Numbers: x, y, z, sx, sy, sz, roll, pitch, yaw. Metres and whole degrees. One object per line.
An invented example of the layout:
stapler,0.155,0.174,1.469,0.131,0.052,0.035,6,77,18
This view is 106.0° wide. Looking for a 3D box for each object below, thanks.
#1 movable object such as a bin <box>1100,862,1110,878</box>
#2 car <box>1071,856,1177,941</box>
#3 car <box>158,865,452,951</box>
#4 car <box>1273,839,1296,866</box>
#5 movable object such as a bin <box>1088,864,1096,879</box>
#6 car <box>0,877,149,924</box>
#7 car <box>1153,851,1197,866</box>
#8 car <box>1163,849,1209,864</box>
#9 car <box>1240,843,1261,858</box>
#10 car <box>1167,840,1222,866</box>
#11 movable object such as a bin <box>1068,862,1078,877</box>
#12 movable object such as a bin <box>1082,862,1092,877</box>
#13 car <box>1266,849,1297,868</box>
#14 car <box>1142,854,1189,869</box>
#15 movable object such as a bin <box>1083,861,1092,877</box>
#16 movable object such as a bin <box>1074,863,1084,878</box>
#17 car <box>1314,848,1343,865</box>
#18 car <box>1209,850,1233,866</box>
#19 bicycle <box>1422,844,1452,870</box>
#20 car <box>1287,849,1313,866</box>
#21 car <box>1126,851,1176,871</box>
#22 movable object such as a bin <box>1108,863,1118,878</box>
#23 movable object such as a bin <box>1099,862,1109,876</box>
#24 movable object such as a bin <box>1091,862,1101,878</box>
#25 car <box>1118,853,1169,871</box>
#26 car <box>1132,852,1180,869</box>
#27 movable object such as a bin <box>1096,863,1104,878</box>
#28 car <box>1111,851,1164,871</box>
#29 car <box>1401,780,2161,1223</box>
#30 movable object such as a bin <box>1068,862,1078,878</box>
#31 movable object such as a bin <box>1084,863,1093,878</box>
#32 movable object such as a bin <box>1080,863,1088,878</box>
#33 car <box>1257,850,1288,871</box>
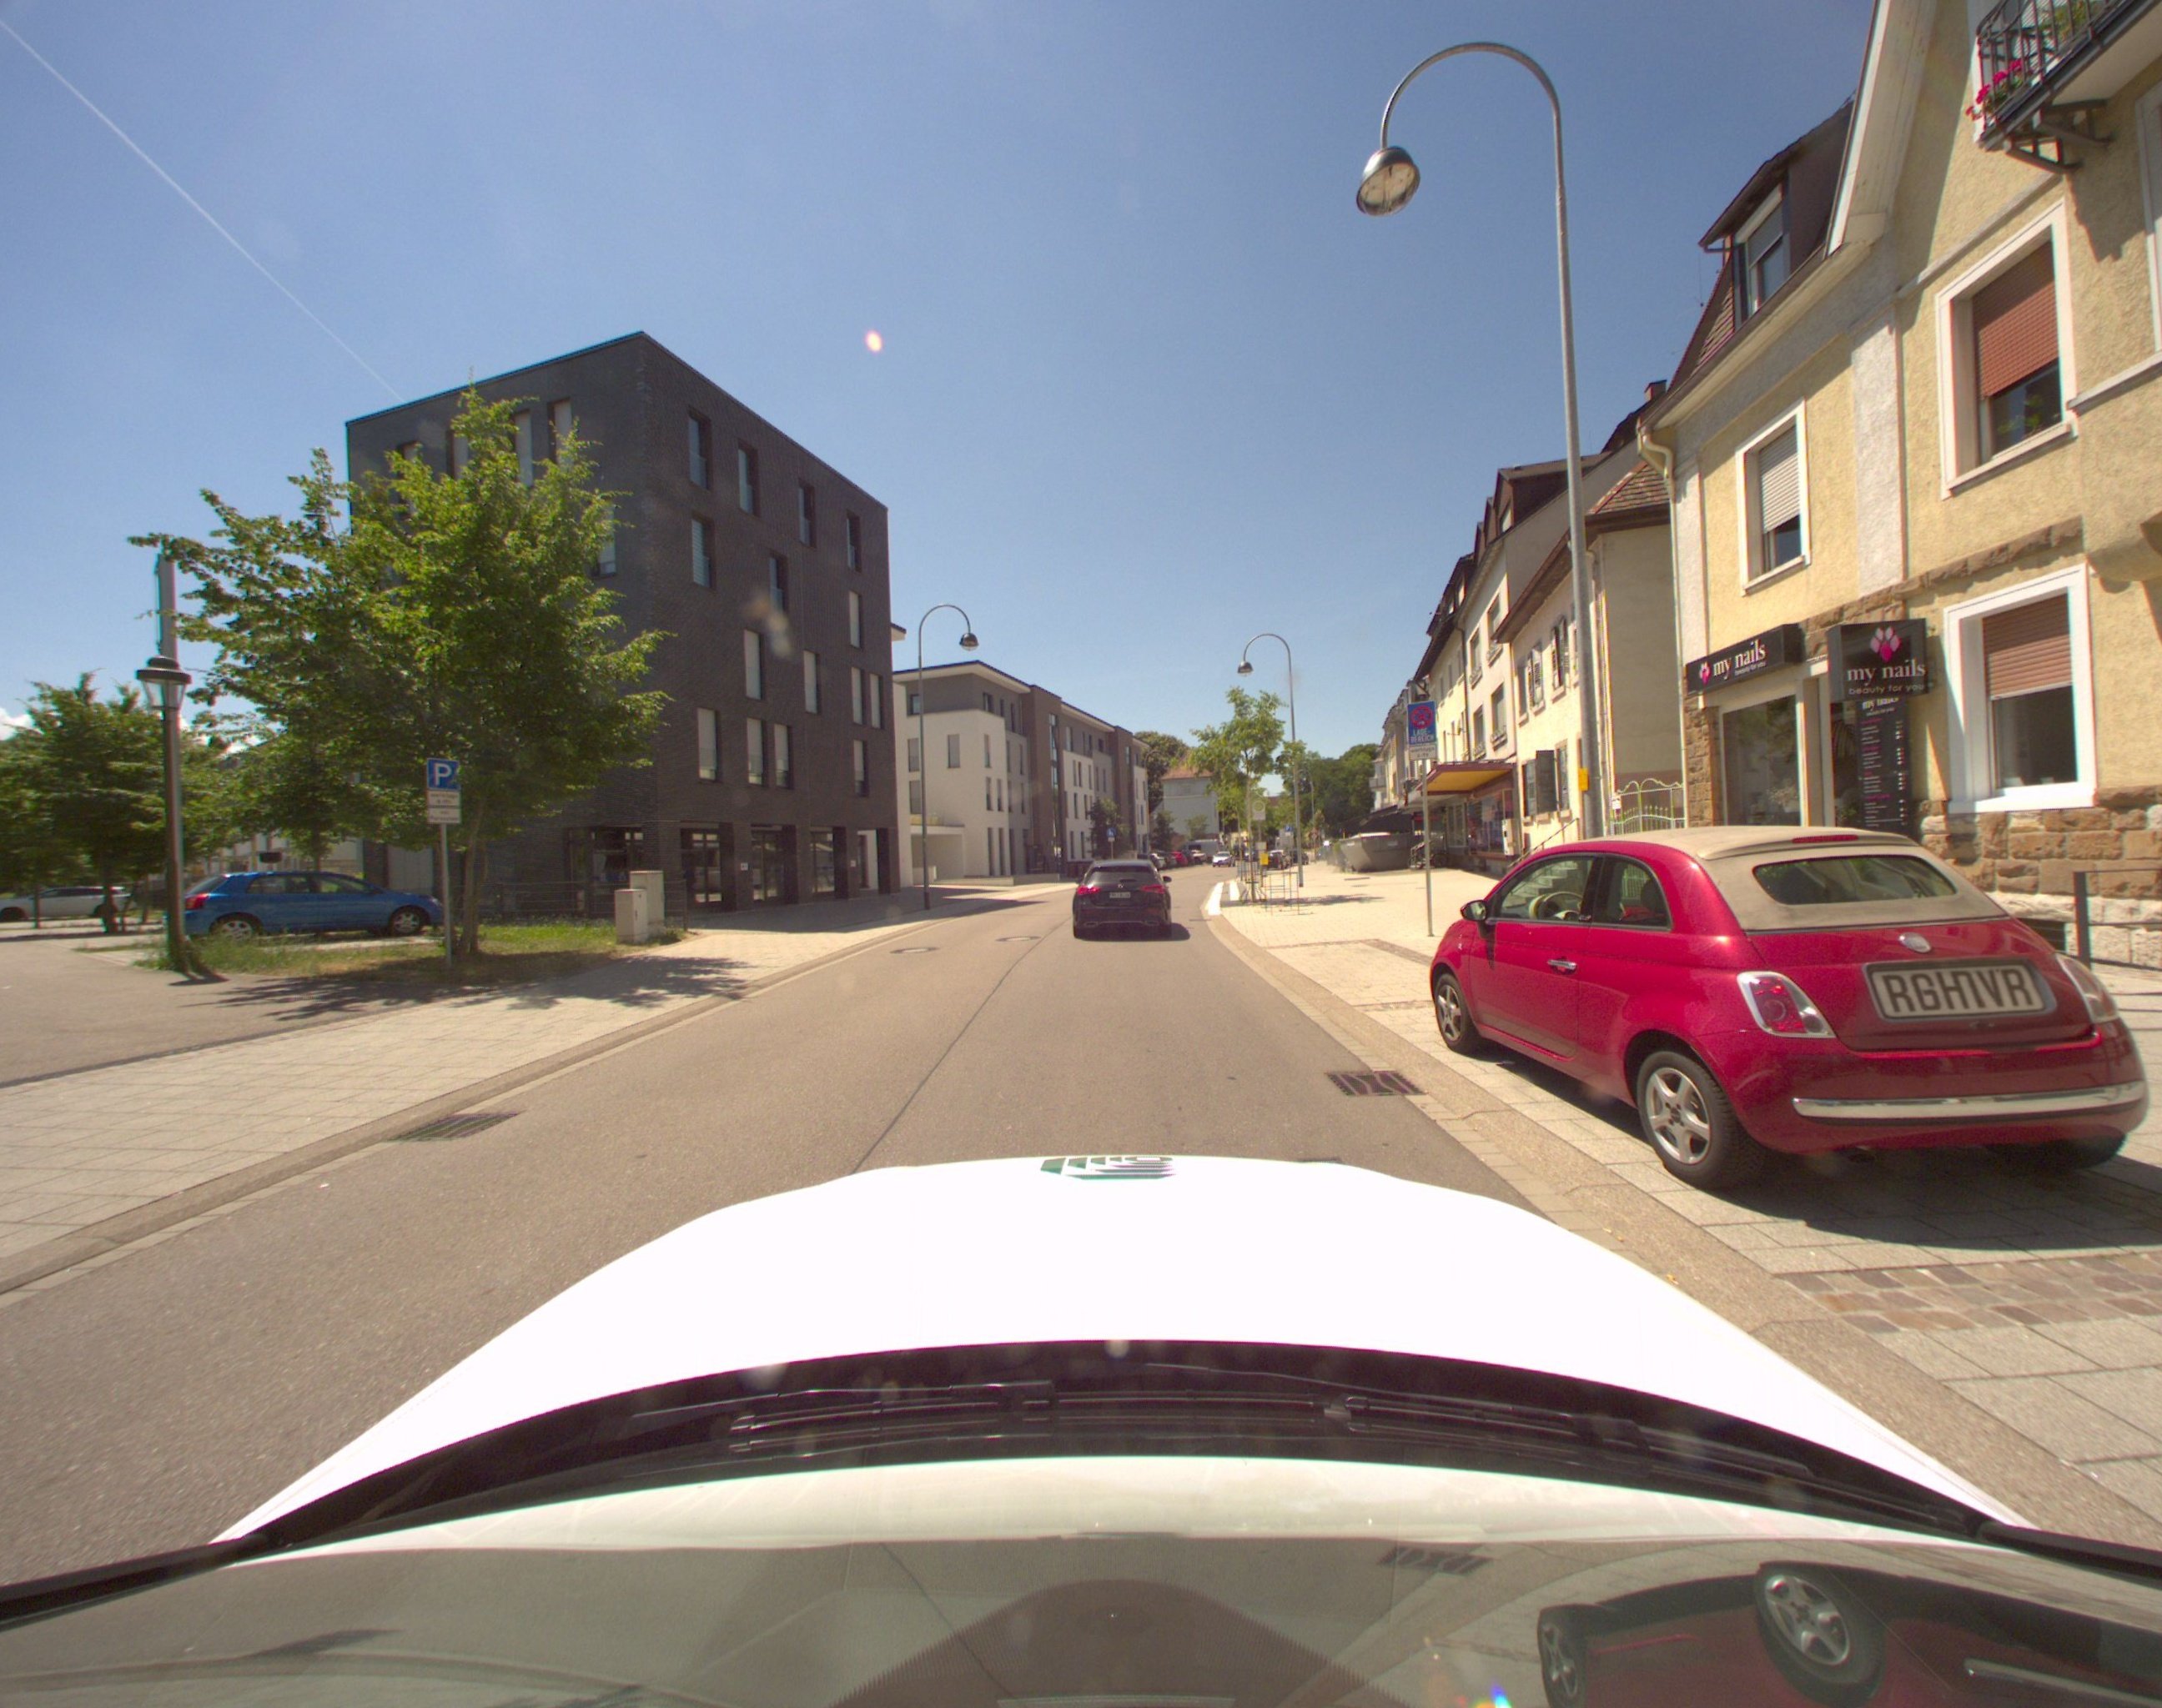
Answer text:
movable object such as a bin,1.605,1.072,54.364,0.480,0.998,0.590,-2,0,11
car,0.761,0.787,16.113,1.822,1.442,4.000,-1,0,0
car,-15.916,1.037,16.944,1.678,1.486,4.106,-3,-1,32
car,23.194,-0.219,92.704,2.111,2.629,5.302,-6,1,16
movable object such as a bin,0.739,1.175,55.123,0.400,0.998,0.558,-2,0,17
car,-46.603,2.093,37.329,1.974,1.862,4.814,-2,0,32
car,9.384,0.418,81.266,4.169,1.437,1.893,-1,0,14
car,11.138,0.269,86.401,4.417,1.591,2.010,-1,0,18
car,20.220,-0.413,97.156,1.926,1.658,4.255,-1,0,18
car,12.729,-0.111,91.053,5.720,2.732,2.303,-1,0,19
movable object such as a bin,-0.538,1.076,55.329,0.480,0.998,0.590,-2,0,11
movable object such as a bin,0.407,1.095,57.696,0.673,1.039,0.605,-2,0,1
car,17.131,0.354,69.429,1.722,1.486,4.077,-5,-1,24
car,8.009,0.701,76.781,3.998,1.430,2.010,-1,0,21
movable object such as a bin,0.447,1.053,56.956,0.617,1.039,0.583,-2,0,1
movable object such as a bin,-0.138,1.090,54.606,0.479,0.998,0.529,-2,0,17
car,25.898,0.237,85.145,1.854,1.491,3.887,-4,1,32
car,13.383,0.387,77.638,1.654,1.396,3.865,-2,0,17
bicycle,16.594,0.152,37.962,1.258,1.184,0.417,-1,-1,26
car,20.240,0.345,75.137,1.709,1.405,4.634,-3,-1,23
car,6.214,0.630,71.979,3.998,1.651,2.010,-1,0,21
movable object such as a bin,2.165,1.094,54.891,0.479,0.998,0.590,-2,0,17
movable object such as a bin,1.614,1.053,57.427,0.550,1.020,0.562,-2,0,14
movable object such as a bin,1.030,1.077,54.664,0.479,0.998,0.590,-2,0,18
car,5.310,0.685,69.612,3.954,1.421,1.919,-1,0,19
car,6.881,0.616,74.737,3.998,1.496,2.010,-1,0,21
movable object such as a bin,1.272,1.132,54.940,0.400,0.998,0.558,-2,0,17
car,4.698,0.561,67.490,3.954,1.515,2.010,-1,2,19
car,3.365,0.538,4.696,1.673,1.514,3.387,-4,0,1
movable object such as a bin,-0.564,1.094,56.836,0.689,1.095,0.648,-2,0,1
movable object such as a bin,0.493,1.081,54.589,0.421,0.998,0.526,-2,0,18
movable object such as a bin,0.197,1.130,55.121,0.400,0.998,0.558,-2,0,17
car,14.981,0.472,63.573,1.817,1.482,4.116,-4,-2,20
